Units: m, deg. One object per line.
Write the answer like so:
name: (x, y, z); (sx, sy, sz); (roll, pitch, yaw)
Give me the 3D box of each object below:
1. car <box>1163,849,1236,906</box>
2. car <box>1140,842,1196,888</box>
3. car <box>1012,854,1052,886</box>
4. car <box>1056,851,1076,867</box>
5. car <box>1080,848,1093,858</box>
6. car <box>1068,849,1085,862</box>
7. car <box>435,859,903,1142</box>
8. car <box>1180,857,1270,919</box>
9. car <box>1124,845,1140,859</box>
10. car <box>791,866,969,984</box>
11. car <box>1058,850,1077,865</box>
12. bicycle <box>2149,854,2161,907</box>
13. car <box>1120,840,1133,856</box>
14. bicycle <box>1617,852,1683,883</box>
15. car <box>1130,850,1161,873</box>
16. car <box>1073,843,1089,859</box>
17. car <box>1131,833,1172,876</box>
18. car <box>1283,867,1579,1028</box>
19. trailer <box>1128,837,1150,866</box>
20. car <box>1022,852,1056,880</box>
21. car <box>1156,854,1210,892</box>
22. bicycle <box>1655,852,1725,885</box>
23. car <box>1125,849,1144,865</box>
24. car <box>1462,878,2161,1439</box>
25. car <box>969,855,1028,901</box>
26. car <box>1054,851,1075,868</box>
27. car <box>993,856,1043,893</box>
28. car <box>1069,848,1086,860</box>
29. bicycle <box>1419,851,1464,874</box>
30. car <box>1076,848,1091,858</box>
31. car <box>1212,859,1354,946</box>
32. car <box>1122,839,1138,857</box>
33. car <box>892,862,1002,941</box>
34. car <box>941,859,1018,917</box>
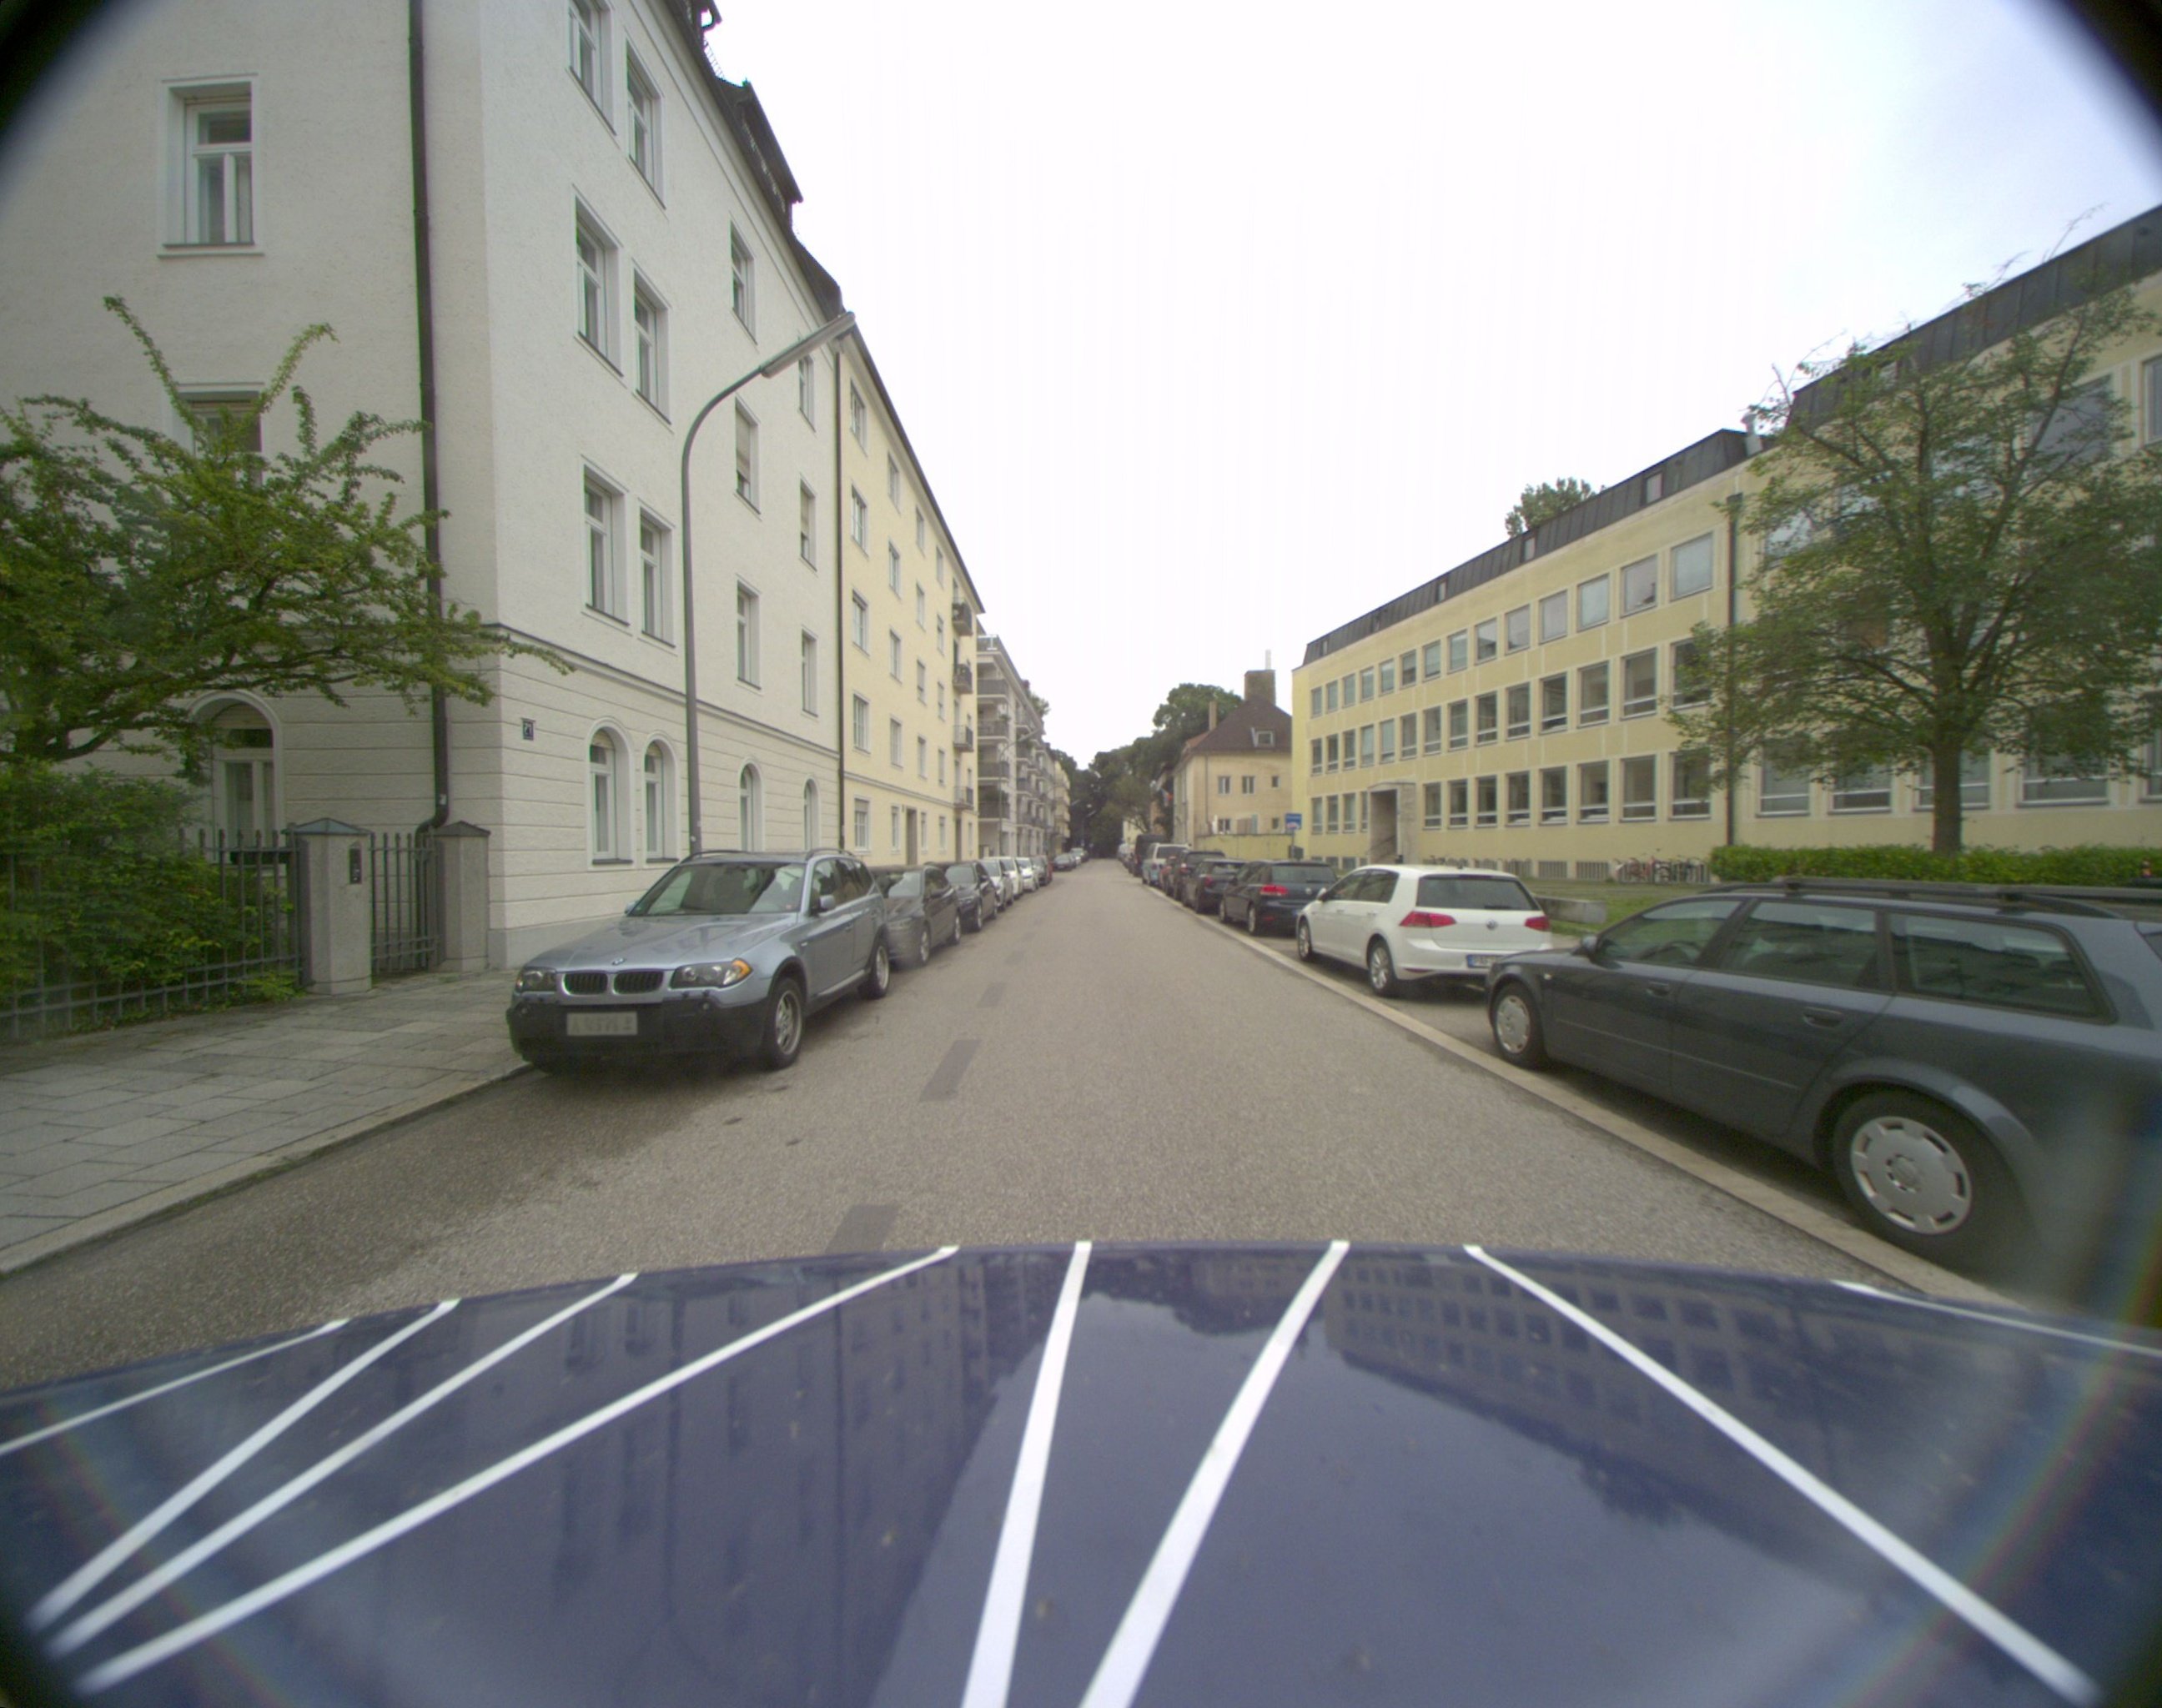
car: (3.902, 0.711, 25.712); (1.748, 1.656, 4.448); (3, 1, 0)
car: (4.032, 0.452, 35.914); (1.933, 1.968, 5.021); (0, 1, -1)
car: (-2.362, 0.729, 37.518); (1.683, 1.402, 4.421); (-1, 1, 0)
car: (-1.397, 0.455, 71.114); (1.766, 1.449, 3.417); (-1, 1, 1)
car: (0.821, -0.130, 118.642); (1.871, 1.455, 4.268); (-1, 1, 3)
car: (-0.491, 0.147, 87.871); (1.766, 1.449, 3.747); (-1, 1, 1)
car: (-3.026, 0.909, 6.859); (1.726, 1.625, 4.457); (-1, 1, 1)
car: (3.767, 0.834, 20.493); (1.684, 1.445, 3.869); (1, 1, 0)
car: (6.272, -0.245, 93.110); (1.817, 1.724, 3.649); (-1, 1, 2)
car: (-2.962, 0.969, 12.087); (1.683, 1.419, 4.086); (-1, 1, 1)
car: (-1.350, 0.324, 75.652); (1.766, 1.449, 3.747); (-1, 1, 1)
bicycle: (21.660, 0.502, 14.649); (1.954, 1.008, 0.624); (-1, 1, -16)
car: (7.189, -0.956, 119.835); (1.880, 2.539, 4.370); (-1, 1, 3)
bicycle: (19.439, 0.447, 25.974); (1.953, 1.008, 0.625); (-1, 1, -9)
car: (4.531, 0.499, 54.121); (1.706, 1.485, 3.488); (-1, 1, -3)
car: (0.003, -0.408, 102.870); (1.871, 2.002, 4.268); (-1, 1, 3)
car: (4.468, 0.007, 49.007); (2.302, 2.630, 5.653); (1, 1, 3)
car: (3.959, 0.951, 9.441); (1.661, 1.445, 4.072); (1, 1, -2)
trailer: (5.414, -0.223, 70.631); (1.817, 2.521, 3.390); (3, 1, 6)
car: (-2.331, 0.644, 42.922); (1.683, 1.489, 3.823); (-1, 1, 0)
car: (4.123, 0.748, 31.192); (1.748, 1.379, 3.918); (-1, 1, 1)
bicycle: (19.687, 0.467, 24.560); (1.953, 1.008, 0.625); (-1, 1, -9)
car: (5.342, 0.313, 76.103); (1.767, 1.505, 3.842); (0, 1, 2)
car: (3.993, 0.955, 3.978); (1.759, 1.445, 4.395); (1, 1, 0)
car: (-2.899, 0.799, 27.470); (1.683, 1.473, 4.166); (-1, 1, 0)
car: (-1.475, 0.489, 66.191); (1.784, 1.386, 4.245); (-1, 1, -2)
car: (-2.591, 0.815, 32.192); (1.683, 1.402, 4.442); (-1, 1, 0)
car: (-0.413, -0.037, 94.208); (1.765, 1.449, 3.748); (-1, 1, 4)
bicycle: (16.851, 0.385, 35.523); (1.954, 1.008, 0.580); (-2, 1, -16)
car: (0.382, -0.167, 108.501); (1.871, 1.455, 4.268); (-1, 1, 3)
car: (3.900, 0.877, 15.371); (1.661, 1.445, 3.973); (1, 1, -2)
car: (6.722, -0.811, 103.459); (2.104, 2.418, 4.549); (-1, 1, 4)
car: (-2.844, 0.950, 16.989); (1.683, 1.419, 4.390); (-1, 1, 0)
car: (-2.846, 0.892, 22.026); (1.683, 1.419, 4.166); (-1, 1, 0)
